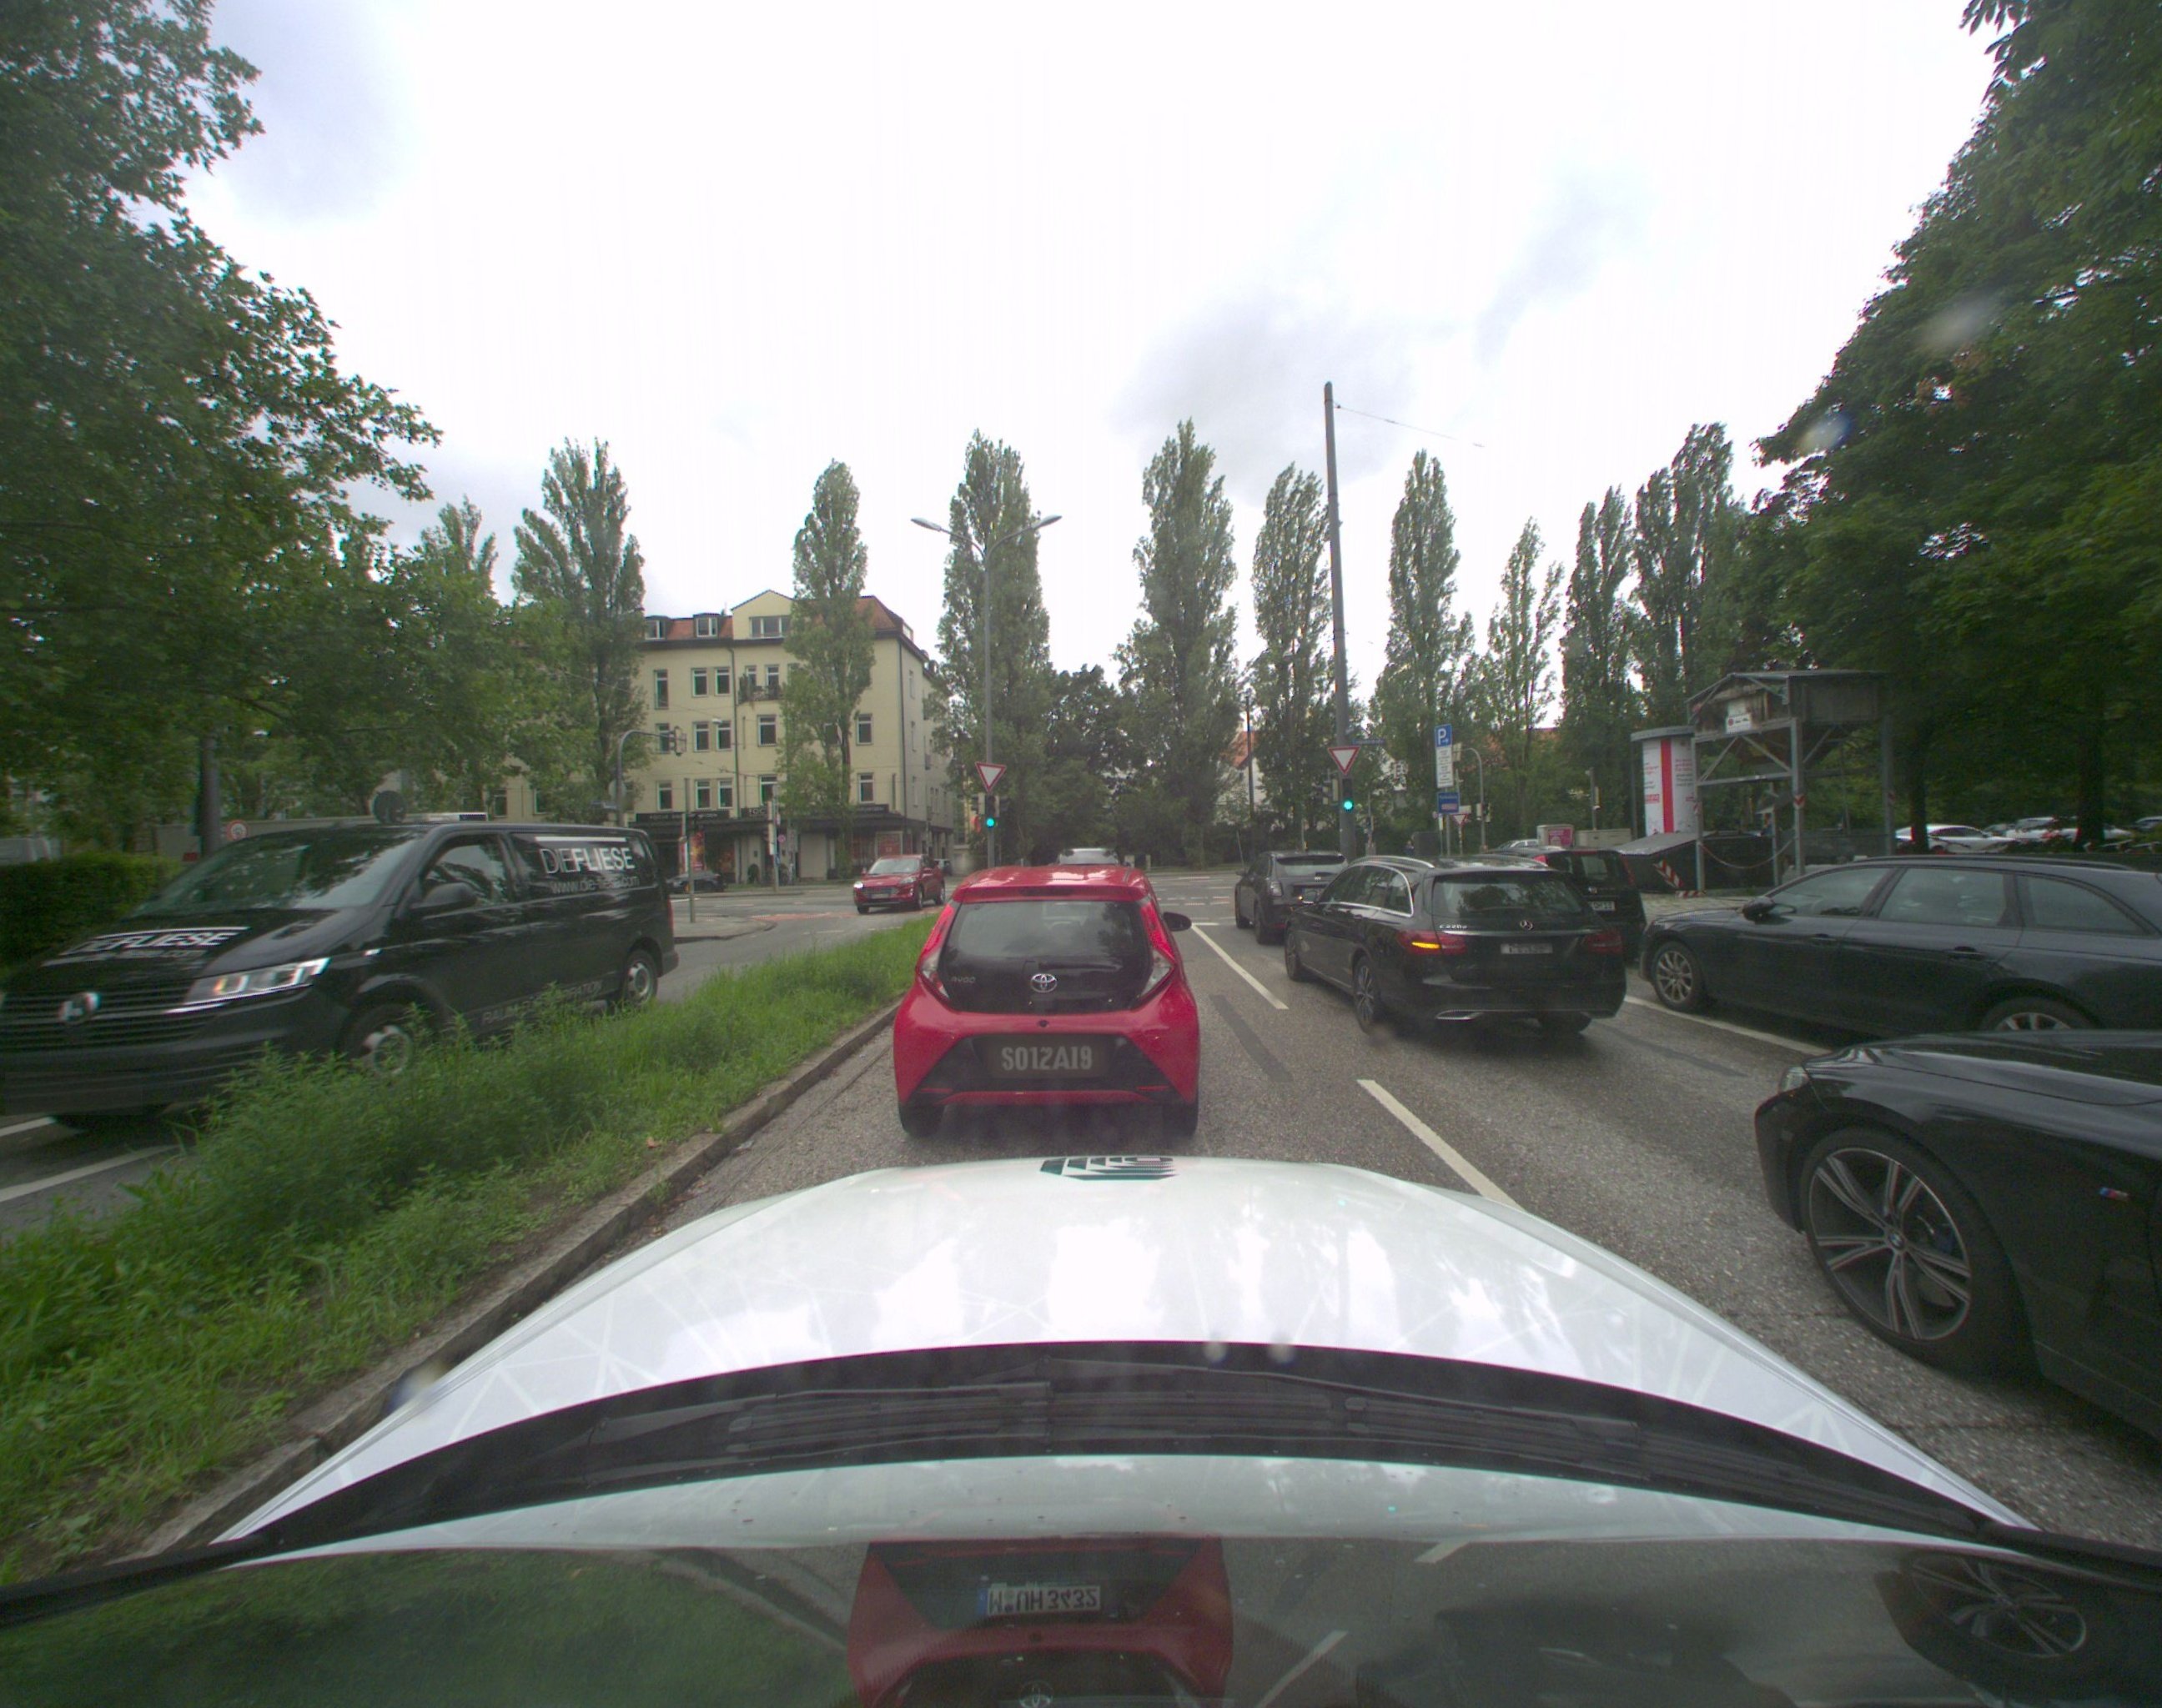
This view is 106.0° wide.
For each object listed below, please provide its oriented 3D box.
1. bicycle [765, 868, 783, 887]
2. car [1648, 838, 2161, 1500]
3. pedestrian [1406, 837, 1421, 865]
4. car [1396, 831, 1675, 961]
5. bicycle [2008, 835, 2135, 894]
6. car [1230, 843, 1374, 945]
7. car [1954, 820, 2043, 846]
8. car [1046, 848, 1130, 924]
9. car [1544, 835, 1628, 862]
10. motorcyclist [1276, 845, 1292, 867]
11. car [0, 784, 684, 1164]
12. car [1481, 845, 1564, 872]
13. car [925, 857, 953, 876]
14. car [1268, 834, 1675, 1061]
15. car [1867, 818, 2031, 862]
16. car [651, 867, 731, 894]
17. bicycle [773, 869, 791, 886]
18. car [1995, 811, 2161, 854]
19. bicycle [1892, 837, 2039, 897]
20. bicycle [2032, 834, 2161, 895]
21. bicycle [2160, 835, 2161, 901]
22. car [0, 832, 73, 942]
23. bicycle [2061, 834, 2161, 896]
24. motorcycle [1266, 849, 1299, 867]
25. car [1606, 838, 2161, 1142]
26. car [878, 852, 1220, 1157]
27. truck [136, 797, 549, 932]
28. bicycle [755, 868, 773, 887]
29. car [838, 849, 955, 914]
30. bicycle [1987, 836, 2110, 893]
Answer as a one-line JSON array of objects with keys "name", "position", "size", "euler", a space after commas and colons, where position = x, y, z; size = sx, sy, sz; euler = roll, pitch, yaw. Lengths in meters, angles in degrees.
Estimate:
[{"name": "bicycle", "position": [-20.349, 1.544, 53.996], "size": [0.493, 1.185, 1.888], "euler": [-2, 0, -1]}, {"name": "car", "position": [3.141, 0.673, 0.946], "size": [1.717, 1.389, 4.801], "euler": [-2, 0, 2]}, {"name": "pedestrian", "position": [20.369, -0.181, 49.955], "size": [0.693, 1.662, 0.555], "euler": [-1, -1, 42]}, {"name": "car", "position": [6.506, 0.514, 12.363], "size": [1.823, 1.549, 4.558], "euler": [-2, 0, 3]}, {"name": "bicycle", "position": [15.262, 0.167, 12.565], "size": [1.400, 0.894, 0.314], "euler": [-1, -1, 8]}, {"name": "car", "position": [3.735, 0.620, 14.467], "size": [1.772, 1.486, 4.006], "euler": [-2, 0, 5]}, {"name": "car", "position": [61.255, -1.404, 54.400], "size": [4.117, 1.486, 1.784], "euler": [-2, 0, -3]}, {"name": "car", "position": [0.268, 0.668, 19.597], "size": [1.728, 1.549, 4.580], "euler": [-2, 0, 3]}, {"name": "car", "position": [32.506, -0.345, 52.487], "size": [4.231, 1.486, 1.786], "euler": [-2, 0, 0]}, {"name": "motorcyclist", "position": [13.413, 0.121, 53.834], "size": [0.870, 1.443, 0.624], "euler": [-1, -1, 33]}, {"name": "car", "position": [-5.362, 0.647, 6.739], "size": [1.852, 1.990, 4.702], "euler": [-2, 0, -1]}, {"name": "car", "position": [27.967, 0.272, 51.675], "size": [4.324, 1.486, 1.786], "euler": [-2, 0, 0]}, {"name": "car", "position": [-12.136, 1.061, 69.676], "size": [1.721, 1.442, 3.997], "euler": [-2, 0, -2]}, {"name": "car", "position": [3.211, 0.638, 7.935], "size": [1.856, 1.549, 4.706], "euler": [0, 0, 2]}, {"name": "car", "position": [31.743, -0.510, 29.863], "size": [4.351, 1.407, 1.729], "euler": [-2, 0, -4]}, {"name": "car", "position": [-23.850, 1.612, 49.903], "size": [3.977, 1.466, 1.803], "euler": [-2, -1, -3]}, {"name": "bicycle", "position": [-19.824, 1.548, 54.040], "size": [0.493, 1.081, 1.888], "euler": [-2, 0, -1]}, {"name": "car", "position": [37.095, -0.782, 30.322], "size": [4.351, 1.407, 1.729], "euler": [-2, 0, -4]}, {"name": "bicycle", "position": [15.488, 0.220, 14.273], "size": [2.232, 1.016, 0.628], "euler": [0, -1, -10]}, {"name": "bicycle", "position": [15.216, 0.164, 12.198], "size": [1.400, 0.894, 0.314], "euler": [-1, -1, 8]}, {"name": "bicycle", "position": [15.487, 0.187, 11.151], "size": [1.409, 0.894, 0.312], "euler": [0, -1, -13]}, {"name": "car", "position": [-22.388, 0.845, 14.904], "size": [1.975, 2.013, 4.658], "euler": [-1, 5, 43]}, {"name": "bicycle", "position": [15.200, 0.160, 11.811], "size": [1.400, 0.894, 0.314], "euler": [-1, -1, 8]}, {"name": "motorcycle", "position": [13.324, 0.267, 53.896], "size": [2.003, 1.169, 0.634], "euler": [-1, -1, 34]}, {"name": "car", "position": [6.197, 0.657, 5.905], "size": [1.762, 1.461, 4.641], "euler": [-2, 0, 0]}, {"name": "car", "position": [-0.071, 0.736, 5.666], "size": [1.622, 1.440, 3.379], "euler": [-2, 0, 3]}, {"name": "truck", "position": [-25.281, 0.335, 28.250], "size": [11.636, 3.980, 2.749], "euler": [-2, 1, 1]}, {"name": "bicycle", "position": [-21.045, 1.550, 54.085], "size": [0.493, 1.185, 1.888], "euler": [-2, 0, -1]}, {"name": "car", "position": [-5.469, 0.743, 24.880], "size": [2.094, 1.637, 4.945], "euler": [-3, 1, 4]}, {"name": "bicycle", "position": [15.315, 0.170, 12.909], "size": [1.400, 0.894, 0.314], "euler": [-1, -1, 8]}]
